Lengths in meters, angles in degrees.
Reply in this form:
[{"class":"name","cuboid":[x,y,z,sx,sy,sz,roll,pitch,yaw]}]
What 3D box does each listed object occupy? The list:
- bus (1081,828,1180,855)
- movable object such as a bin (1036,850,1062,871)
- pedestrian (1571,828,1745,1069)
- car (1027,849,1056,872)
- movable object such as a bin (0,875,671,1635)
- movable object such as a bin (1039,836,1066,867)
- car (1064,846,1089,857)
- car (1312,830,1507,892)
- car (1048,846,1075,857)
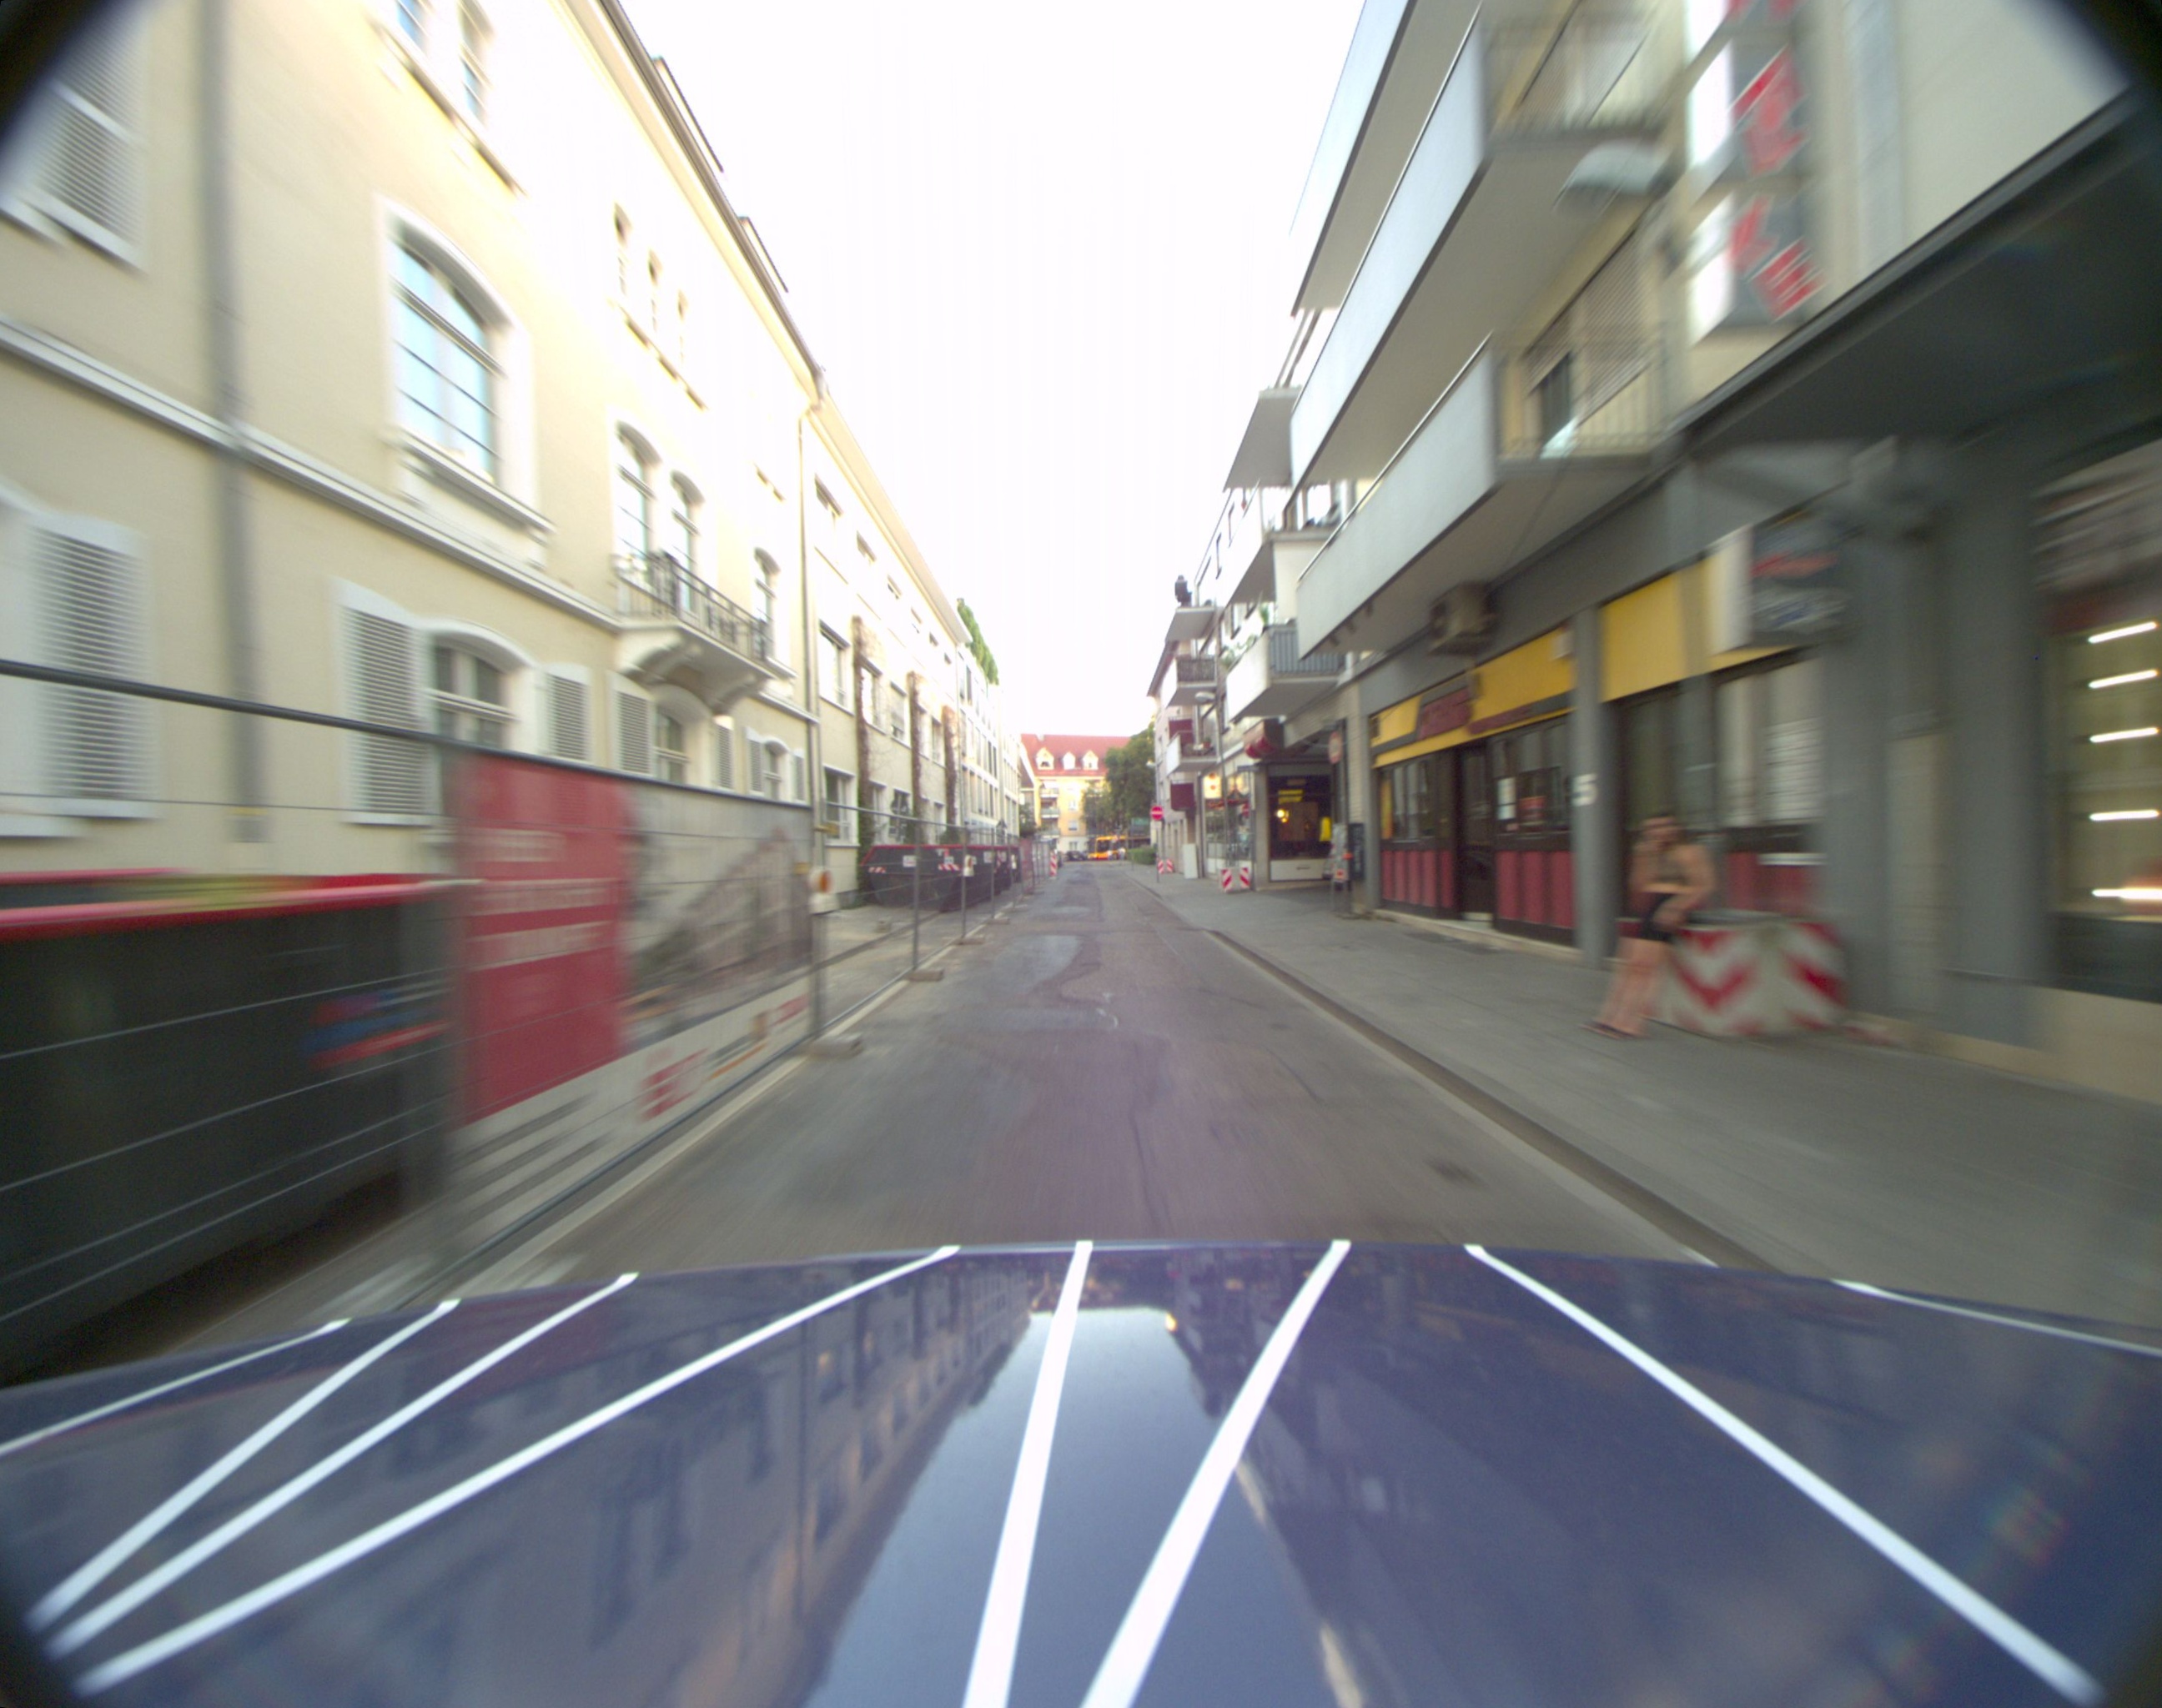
[{"class":"bus","cuboid":[6.584,-1.704,100.799,12.544,3.307,3.917,-2,2,-20]},{"class":"movable object such as a bin","cuboid":[-2.192,0.400,52.951,1.493,1.285,3.778,-3,1,1]},{"class":"pedestrian","cuboid":[4.045,0.627,5.369,0.710,1.569,0.613,-3,2,-3]},{"class":"car","cuboid":[-2.457,0.354,47.753,1.493,1.285,3.778,-3,1,1]},{"class":"movable object such as a bin","cuboid":[-3.951,1.008,1.044,2.898,1.655,7.292,-1,0,-1]},{"class":"movable object such as a bin","cuboid":[-2.550,-0.275,69.521,2.096,2.631,4.372,-3,1,1]},{"class":"car","cuboid":[-0.590,-0.385,102.901,1.795,1.466,3.991,-1,1,-27]},{"class":"car","cuboid":[8.954,0.168,21.005,4.443,1.455,2.069,-3,1,0]},{"class":"car","cuboid":[-2.673,-0.322,101.823,1.795,1.466,3.989,-2,1,-33]}]
